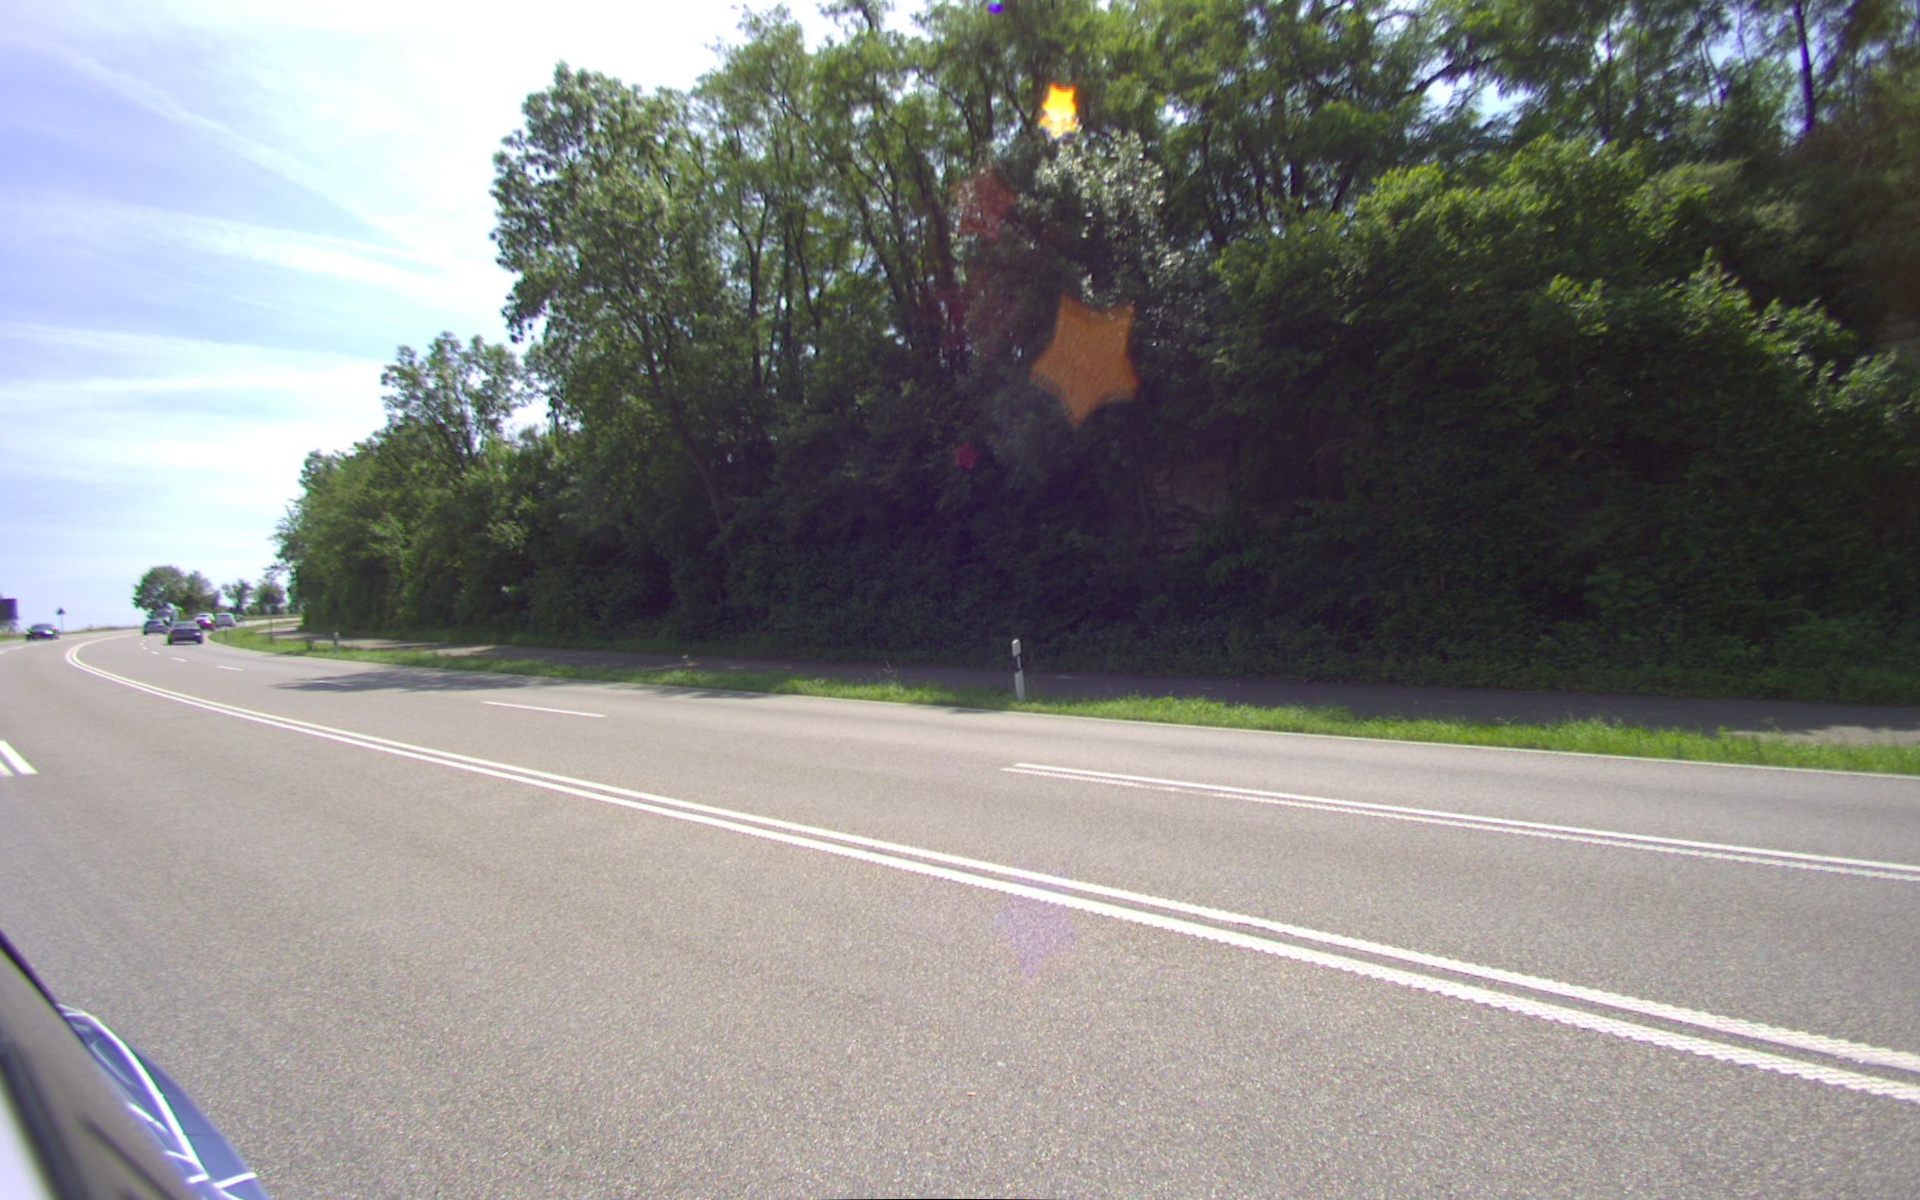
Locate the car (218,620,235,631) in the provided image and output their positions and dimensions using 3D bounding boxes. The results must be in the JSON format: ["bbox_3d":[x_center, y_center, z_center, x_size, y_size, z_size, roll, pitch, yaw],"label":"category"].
[{"bbox_3d":[-133.675,4.679,184.461,1.737,1.874,3.822,-1,0,-25],"label":"car"}]

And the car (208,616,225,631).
[{"bbox_3d":[-99.707,3.146,135.734,1.788,2.029,3.879,-1,0,-36],"label":"car"}]

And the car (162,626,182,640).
[{"bbox_3d":[-112.213,4.690,144.175,1.966,2.029,4.011,-1,-1,-33],"label":"car"}]

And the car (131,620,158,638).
[{"bbox_3d":[-83.159,2.983,103.194,1.929,1.741,3.920,-1,-1,-36],"label":"car"}]

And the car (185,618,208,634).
[{"bbox_3d":[-85.078,2.930,112.755,1.967,1.687,4.009,-1,0,-36],"label":"car"}]

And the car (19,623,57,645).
[{"bbox_3d":[-78.929,2.899,86.659,1.967,1.741,4.009,-1,0,-36],"label":"car"}]

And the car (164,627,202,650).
[{"bbox_3d":[-50.323,2.463,65.509,1.780,1.398,3.877,-1,-1,-40],"label":"car"}]
